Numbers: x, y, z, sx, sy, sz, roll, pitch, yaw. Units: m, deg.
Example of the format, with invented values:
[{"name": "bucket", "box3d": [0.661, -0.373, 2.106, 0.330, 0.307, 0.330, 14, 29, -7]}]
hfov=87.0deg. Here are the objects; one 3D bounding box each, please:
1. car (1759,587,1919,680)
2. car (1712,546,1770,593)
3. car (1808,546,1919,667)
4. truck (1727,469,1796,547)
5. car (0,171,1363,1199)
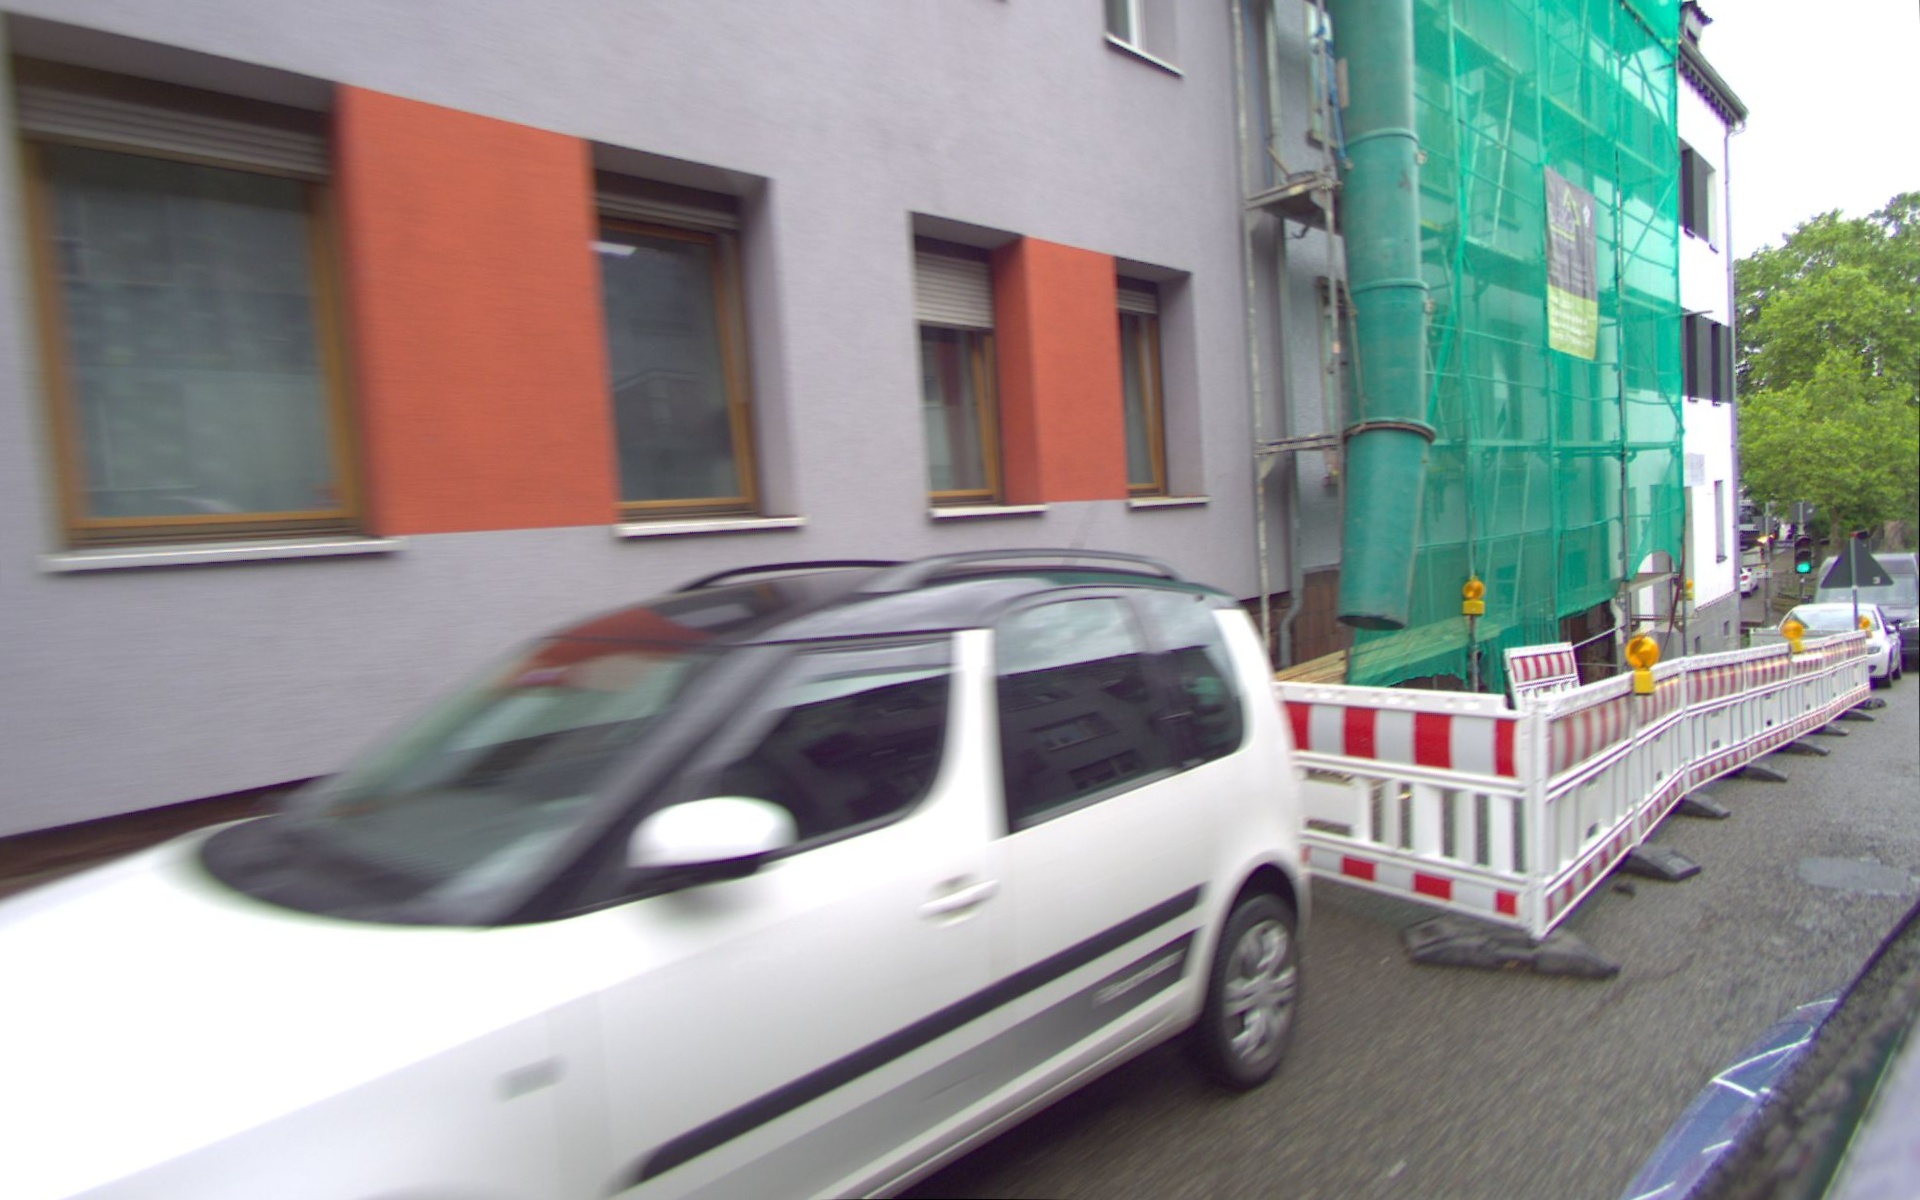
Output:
[{"name": "car", "box3d": [16.807, 0.561, 19.160, 4.264, 1.531, 1.995, -1, 0, -43]}, {"name": "car", "box3d": [35.726, -1.406, 46.261, 1.630, 1.509, 4.288, -2, 8, 44]}, {"name": "car", "box3d": [21.192, 0.034, 23.166, 5.740, 2.444, 1.995, -3, 1, -43]}, {"name": "truck", "box3d": [47.863, -5.617, 60.320, 2.744, 3.342, 11.092, 2, 12, 40]}, {"name": "car", "box3d": [-0.576, 0.437, 2.756, 3.934, 1.785, 1.641, 1, -2, -44]}]
